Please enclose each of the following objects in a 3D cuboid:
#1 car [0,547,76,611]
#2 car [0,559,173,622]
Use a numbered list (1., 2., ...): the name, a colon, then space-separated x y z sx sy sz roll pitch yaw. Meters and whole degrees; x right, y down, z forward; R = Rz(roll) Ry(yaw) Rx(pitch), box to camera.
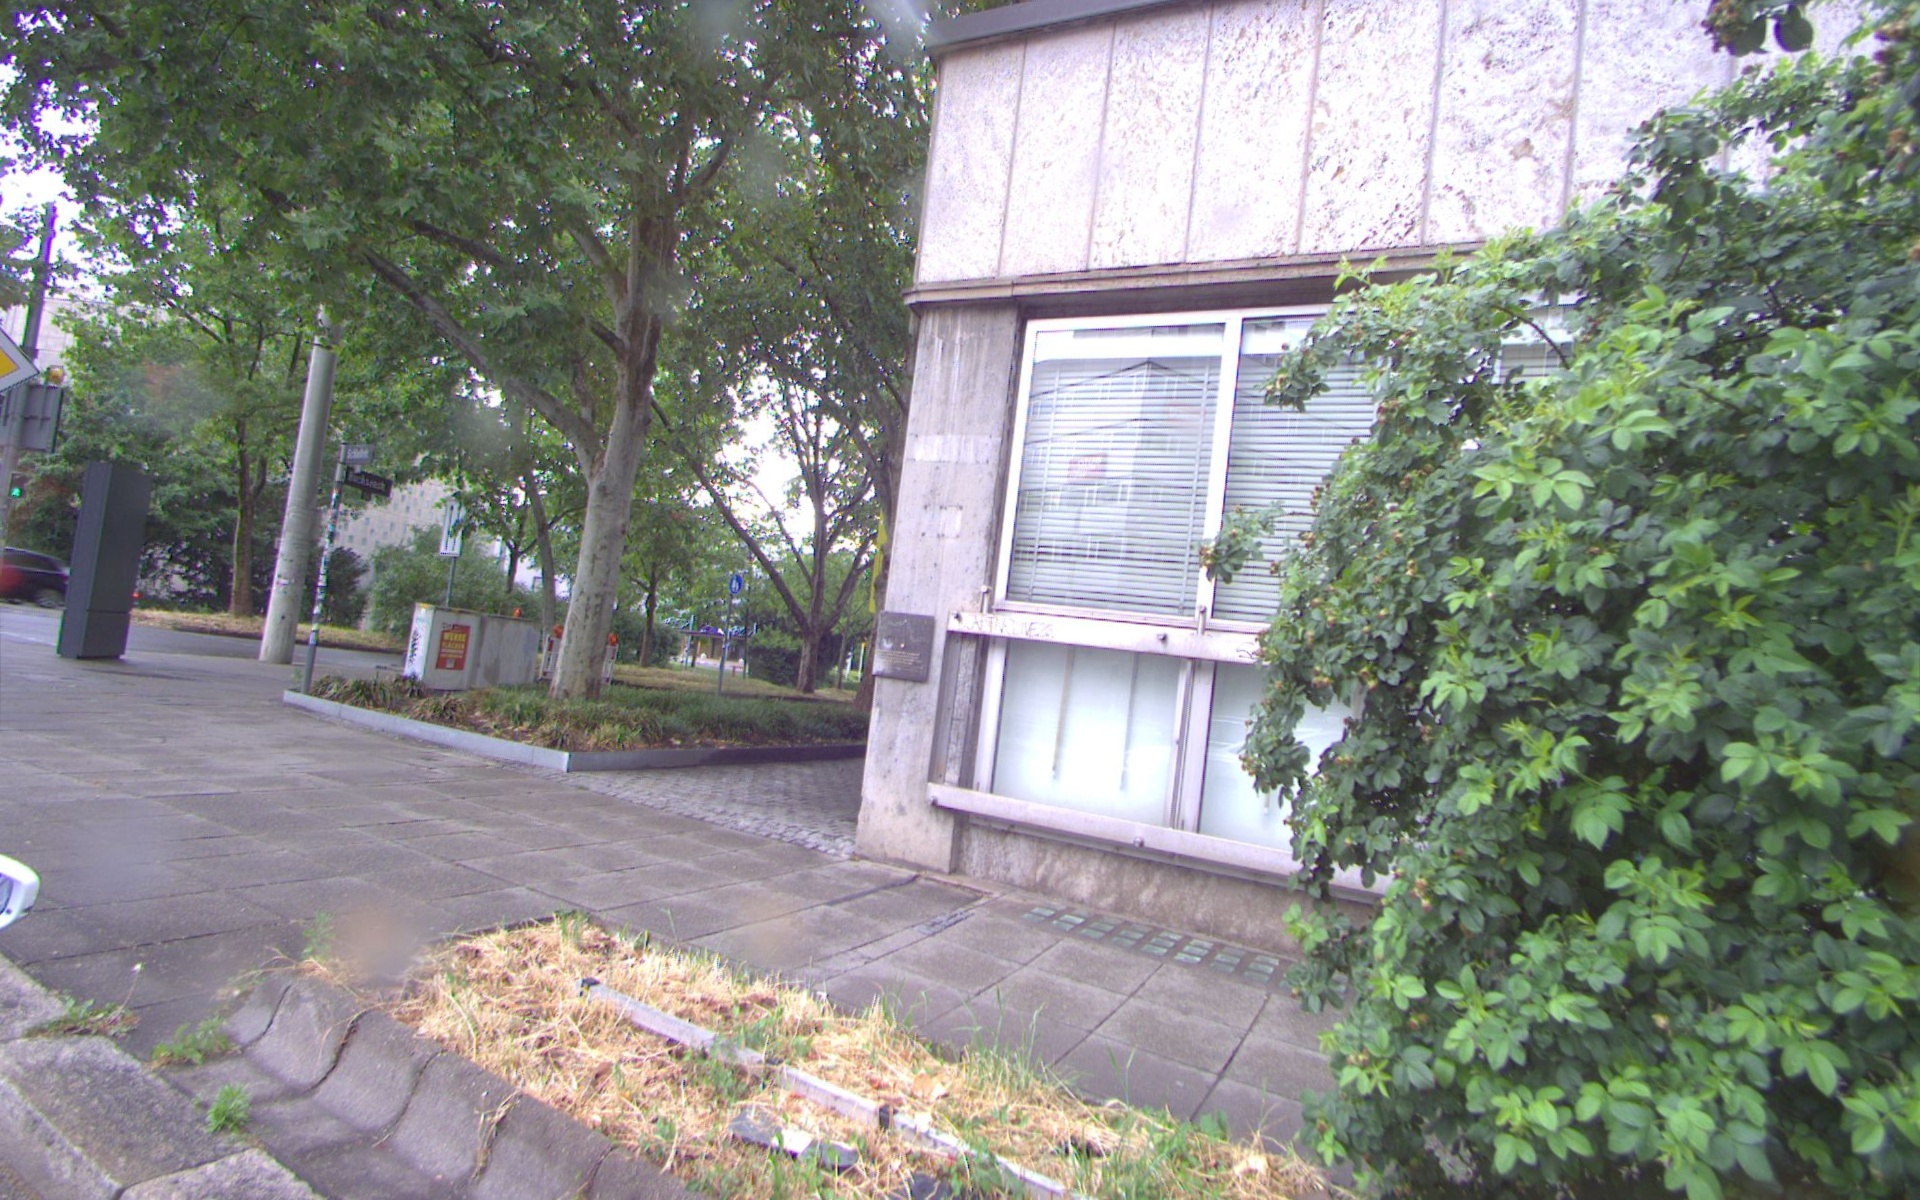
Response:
1. car: -24.726 -0.740 24.887 1.605 1.371 3.871 6 -5 31
2. car: -29.245 -0.280 33.420 1.964 1.536 4.350 7 -2 26
